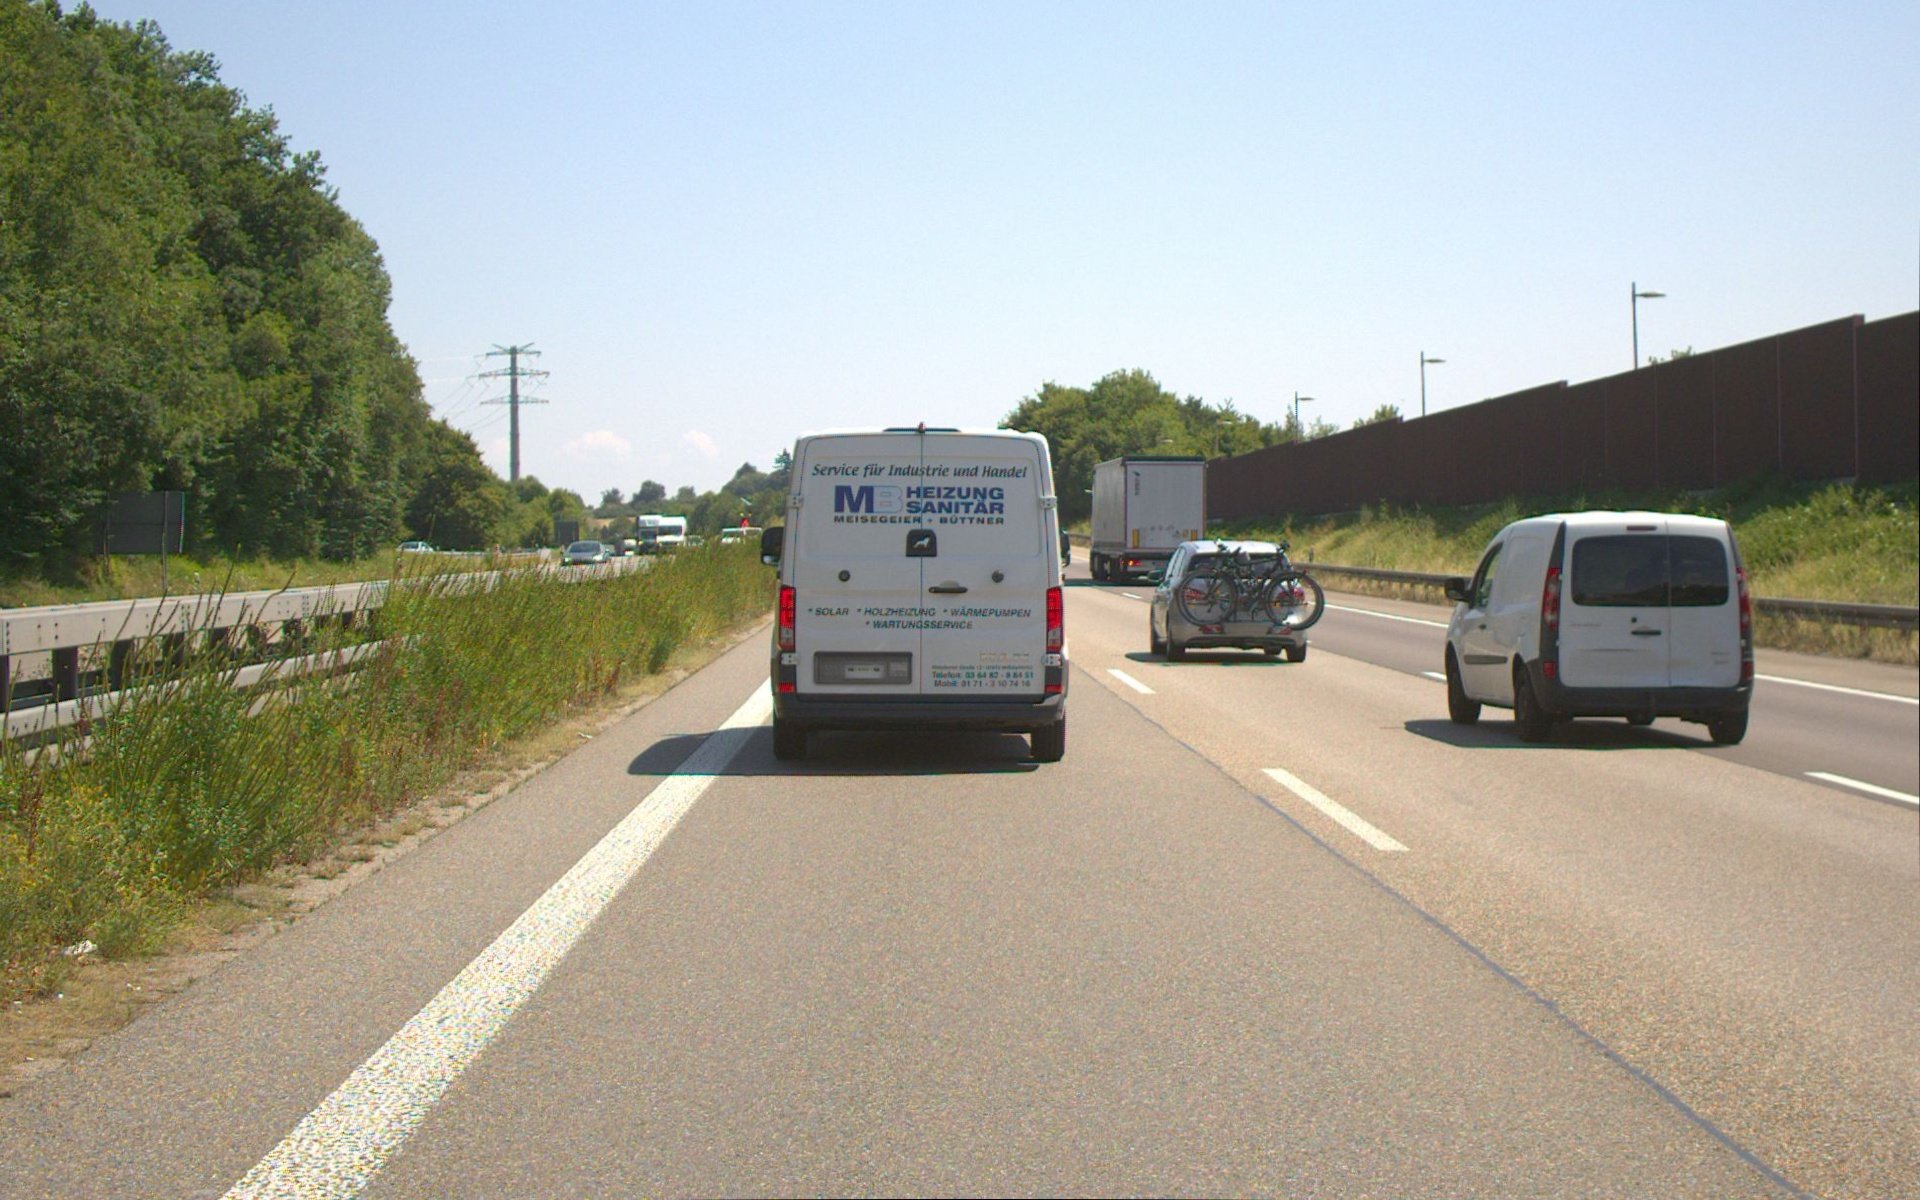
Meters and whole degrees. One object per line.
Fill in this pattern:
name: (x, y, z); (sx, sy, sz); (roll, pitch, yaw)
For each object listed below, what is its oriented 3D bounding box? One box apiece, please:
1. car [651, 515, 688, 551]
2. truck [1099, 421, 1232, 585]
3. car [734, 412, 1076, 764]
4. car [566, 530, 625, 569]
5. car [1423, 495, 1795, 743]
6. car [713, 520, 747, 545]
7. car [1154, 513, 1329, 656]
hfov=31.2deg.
car: (-19.951, -4.601, 236.283); (2.124, 2.331, 5.085); (-2, 1, -1)
truck: (6.624, -3.050, 112.799); (3.788, 4.983, 12.518); (1, 0, 1)
car: (-0.526, -0.098, 24.933); (2.181, 2.246, 5.364); (1, 0, -4)
car: (-15.263, -2.133, 144.242); (1.993, 1.514, 4.722); (-2, 1, -1)
car: (5.152, 0.124, 27.867); (1.950, 1.831, 4.179); (-1, 0, -4)
car: (-15.420, -4.544, 230.573); (1.993, 1.582, 4.426); (-2, 1, -1)
car: (3.574, -0.204, 44.307); (1.976, 1.727, 4.088); (-1, 0, 1)
